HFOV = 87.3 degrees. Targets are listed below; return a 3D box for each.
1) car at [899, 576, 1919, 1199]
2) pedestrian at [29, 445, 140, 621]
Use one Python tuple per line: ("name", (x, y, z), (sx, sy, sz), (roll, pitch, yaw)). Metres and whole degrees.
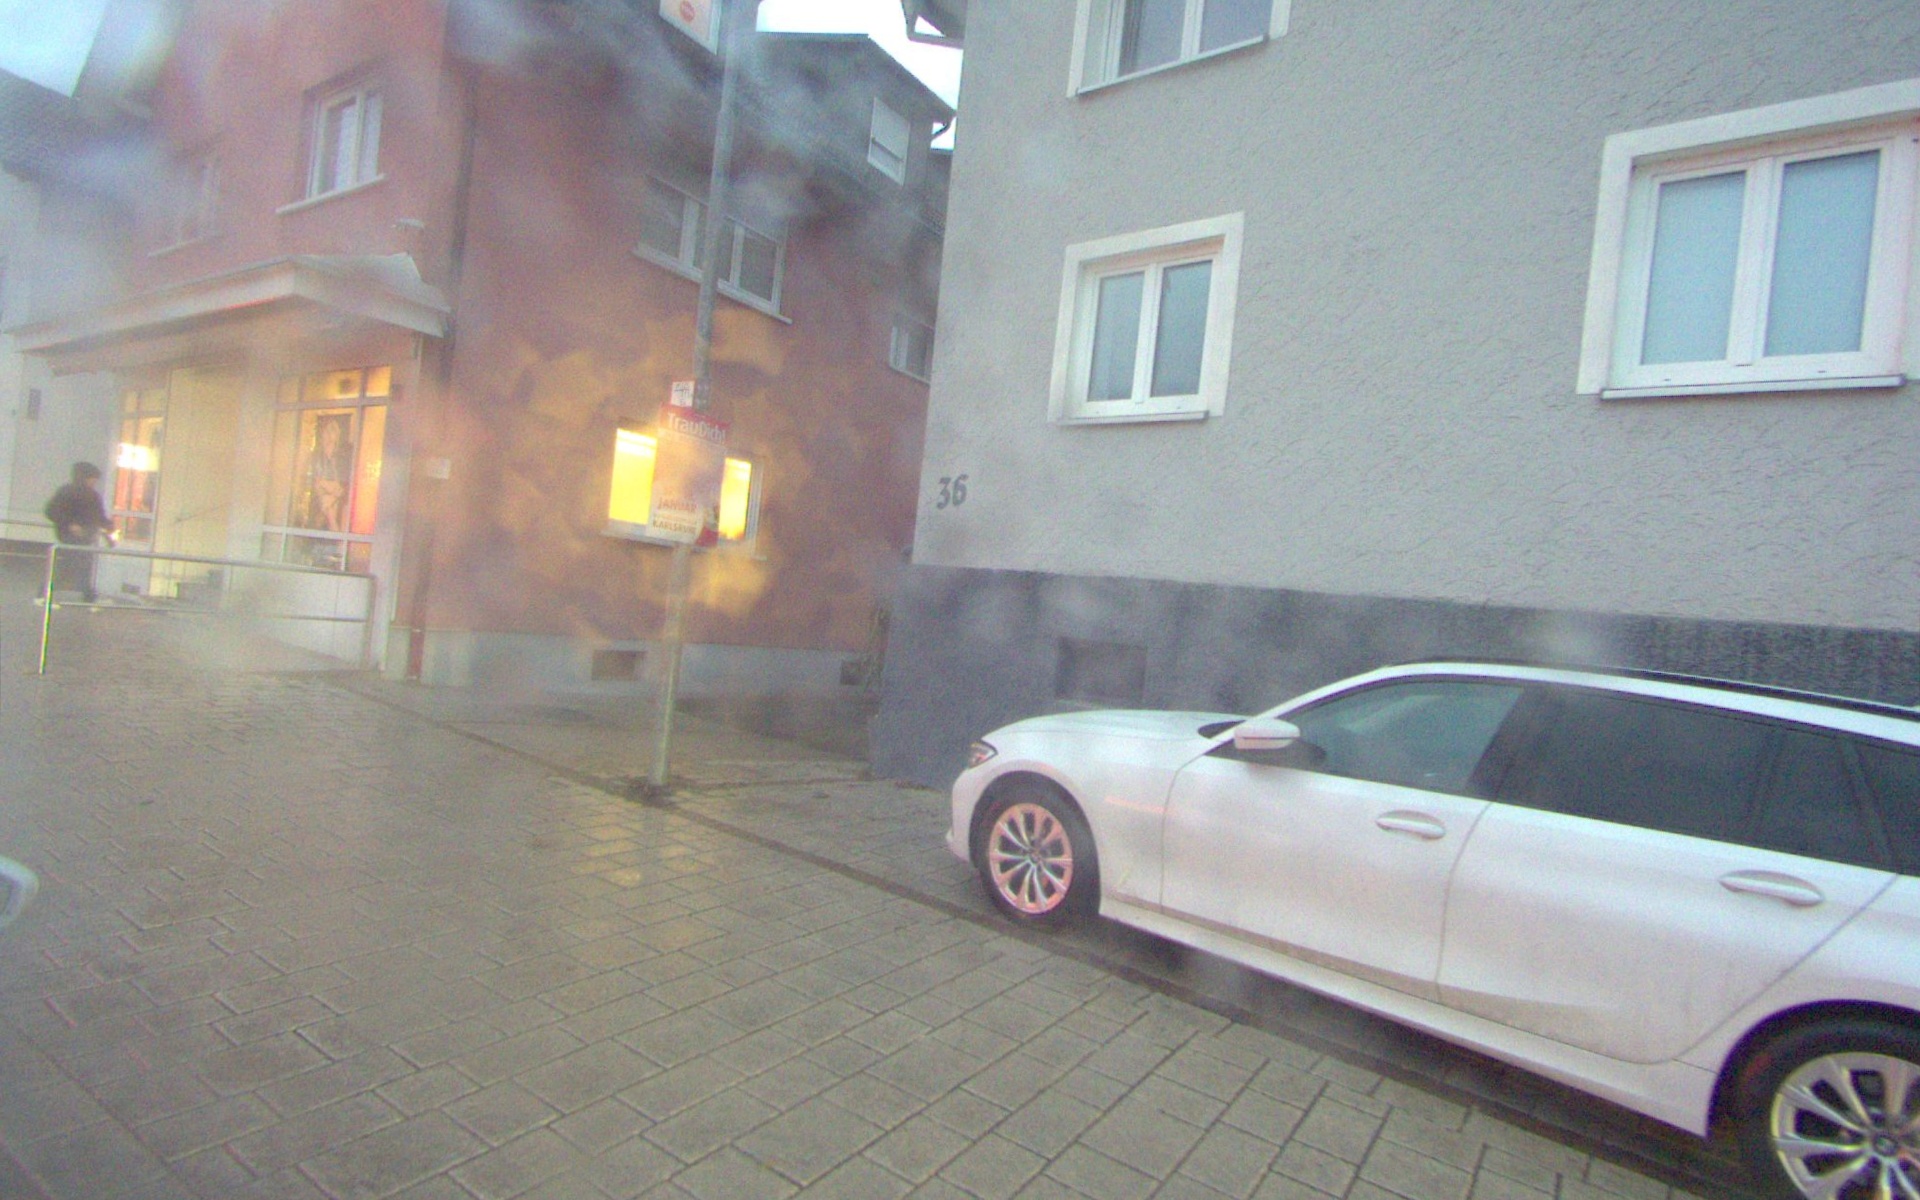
("car", (2.059, 0.899, 4.074), (4.478, 1.485, 1.880), (7, 1, 41))
("pedestrian", (-10.182, -0.769, 11.702), (0.812, 1.910, 0.663), (6, -1, 38))
